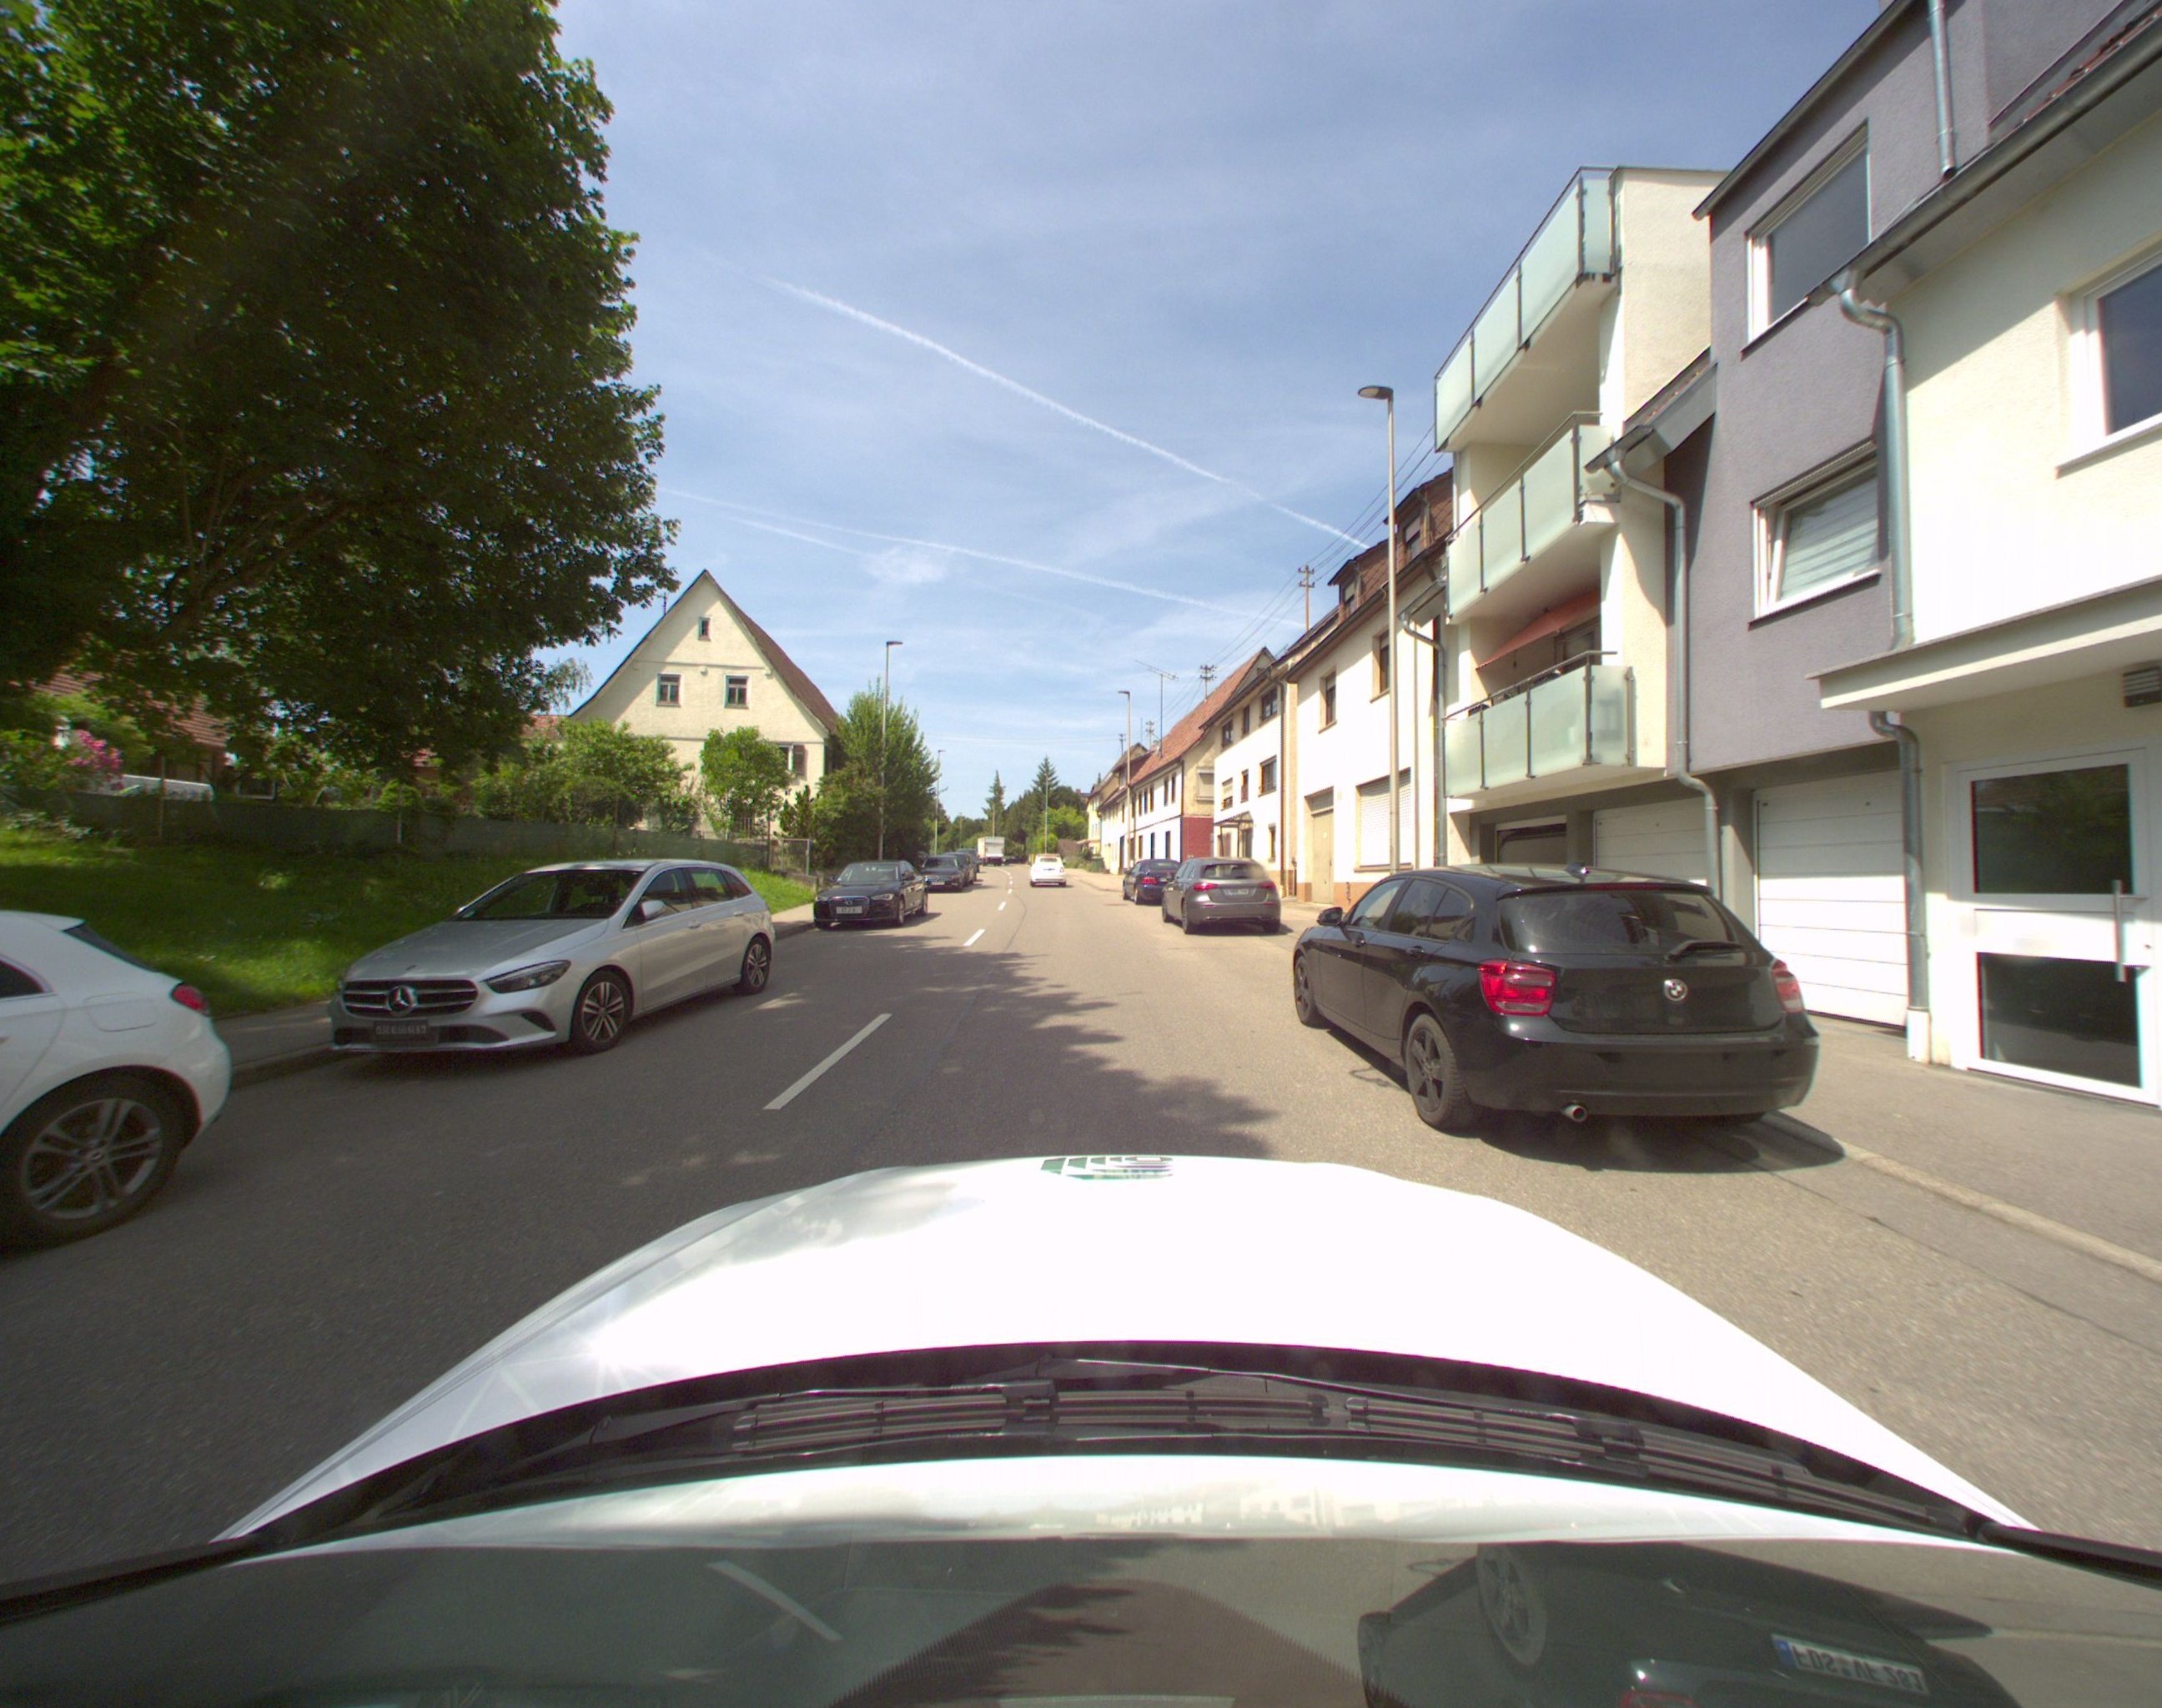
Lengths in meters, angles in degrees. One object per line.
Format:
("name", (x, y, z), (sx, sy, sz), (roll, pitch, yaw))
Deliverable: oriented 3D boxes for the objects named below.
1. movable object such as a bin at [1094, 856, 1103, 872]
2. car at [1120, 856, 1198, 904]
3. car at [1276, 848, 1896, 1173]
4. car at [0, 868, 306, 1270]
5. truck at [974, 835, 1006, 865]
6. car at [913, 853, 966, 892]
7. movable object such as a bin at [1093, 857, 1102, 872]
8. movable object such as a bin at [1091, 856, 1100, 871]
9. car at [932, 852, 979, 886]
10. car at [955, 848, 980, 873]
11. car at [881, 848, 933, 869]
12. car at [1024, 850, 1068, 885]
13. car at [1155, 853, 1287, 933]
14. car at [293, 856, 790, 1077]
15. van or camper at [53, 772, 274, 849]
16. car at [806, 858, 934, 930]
("movable object such as a bin", (1.238, 0.702, 57.201), (0.546, 1.033, 0.550), (-2, 0, -7))
("car", (2.343, 0.737, 25.380), (1.663, 1.352, 4.179), (1, 0, -5))
("car", (2.748, 0.714, 5.755), (1.790, 1.424, 4.291), (0, -1, 1))
("car", (-4.905, 0.816, 1.983), (1.748, 1.467, 4.364), (-1, 0, 2))
("truck", (-11.778, -0.408, 104.924), (3.073, 3.774, 7.828), (0, -1, -14))
("car", (-5.715, 0.702, 33.369), (1.786, 1.463, 4.703), (0, 0, -5))
("movable object such as a bin", (1.144, 0.711, 57.775), (0.546, 1.033, 0.550), (-2, 0, -7))
("movable object such as a bin", (1.039, 0.699, 58.956), (0.546, 1.033, 0.550), (-2, 0, -7))
("car", (-5.975, 0.673, 39.125), (1.751, 1.521, 4.297), (0, 0, -2))
("car", (-9.306, 0.505, 66.417), (1.891, 1.937, 4.969), (-1, 0, -10))
("car", (-15.066, 0.376, 70.284), (4.235, 1.405, 1.812), (5, -1, -15))
("car", (-1.698, 0.637, 38.407), (1.723, 1.560, 3.990), (1, -1, -7))
("car", (2.699, 0.695, 16.746), (1.789, 1.403, 4.408), (-1, 0, -2))
("car", (-4.551, 0.797, 7.825), (1.765, 1.527, 4.225), (-1, 0, 3))
("van or camper", (-27.495, -1.220, 24.644), (1.986, 2.013, 4.001), (3, 0, 1))
("car", (-4.803, 0.836, 19.311), (1.799, 1.423, 4.926), (0, 1, -1))
